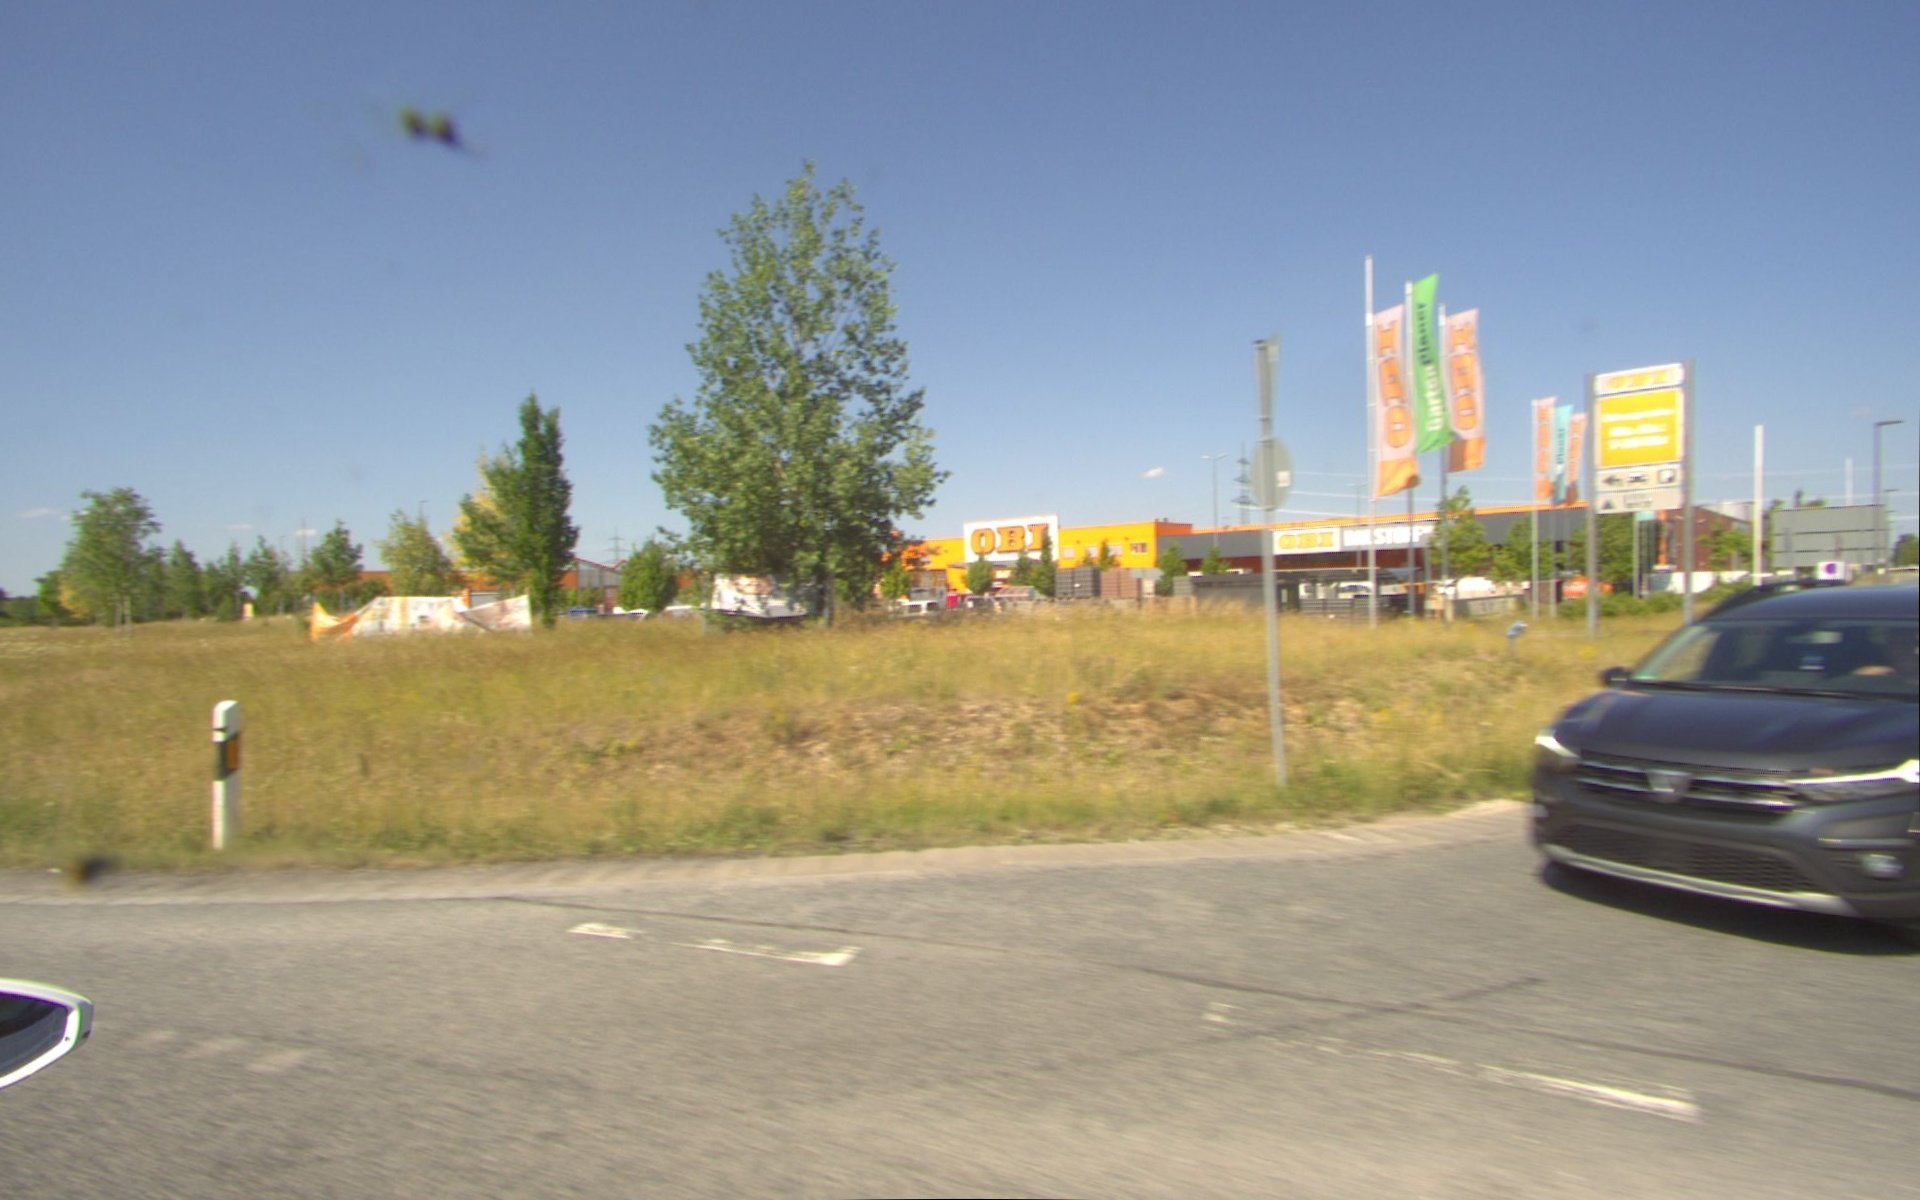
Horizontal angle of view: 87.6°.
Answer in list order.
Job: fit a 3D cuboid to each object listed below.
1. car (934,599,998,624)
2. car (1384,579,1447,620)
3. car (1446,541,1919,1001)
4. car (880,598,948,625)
[{"bbox_3d":[0.399,0.799,68.173,3.943,1.639,1.989,-1,1,32],"label":"car"},{"bbox_3d":[21.492,0.024,47.221,1.681,1.865,3.743,0,-1,42],"label":"car"},{"bbox_3d":[5.052,0.659,5.774,4.564,1.728,1.946,0,0,-32],"label":"car"},{"bbox_3d":[-2.988,0.746,64.911,3.943,1.639,1.989,-1,1,32],"label":"car"}]
